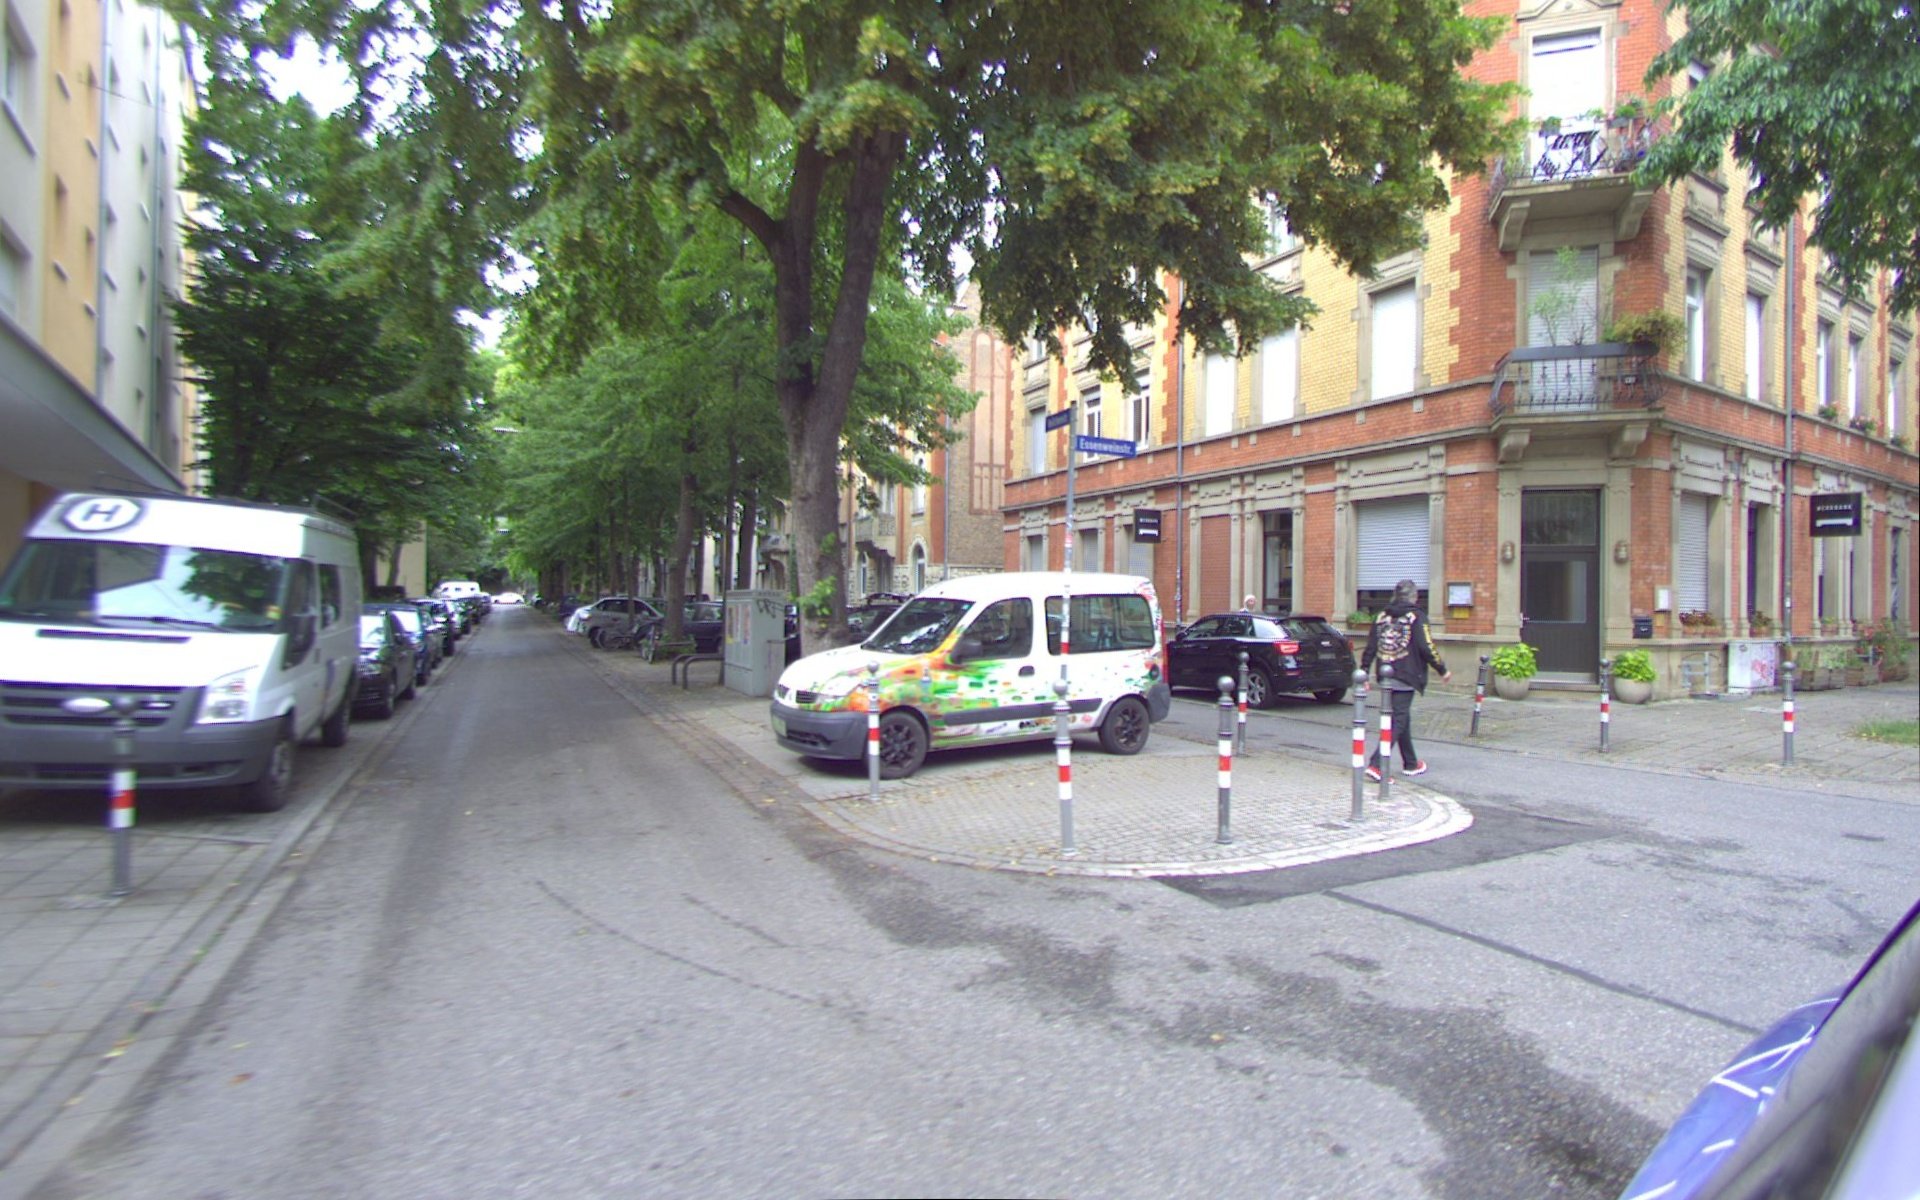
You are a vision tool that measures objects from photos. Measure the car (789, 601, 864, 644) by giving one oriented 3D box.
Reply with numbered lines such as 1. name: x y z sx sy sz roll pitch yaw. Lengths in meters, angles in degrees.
1. car: -5.254 0.813 39.312 1.806 1.514 4.282 -2 1 -22

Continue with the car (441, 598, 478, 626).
1. car: -26.599 0.639 53.865 1.478 1.386 3.526 -1 -1 -22

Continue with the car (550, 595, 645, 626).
1. car: -17.306 0.501 48.357 3.937 1.408 1.733 1 0 12

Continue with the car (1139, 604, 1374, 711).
1. car: 4.842 0.862 17.074 1.626 1.560 3.840 1 0 -27

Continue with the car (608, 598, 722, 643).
1. car: -10.586 0.712 36.311 3.965 1.482 1.647 1 0 30

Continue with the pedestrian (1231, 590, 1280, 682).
1. pedestrian: 5.705 0.682 19.572 0.551 1.728 0.750 1 0 -23

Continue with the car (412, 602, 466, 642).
1. car: -19.444 0.794 37.841 1.478 1.386 3.526 -1 -1 -22

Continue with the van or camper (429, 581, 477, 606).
1. van or camper: -62.459 -0.763 124.681 4.948 3.073 1.999 0 0 -37

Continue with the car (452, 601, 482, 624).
1. car: -31.302 0.816 64.317 1.478 1.386 3.526 -1 -1 -22

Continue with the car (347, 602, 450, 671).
1. car: -13.148 0.791 23.908 1.739 1.436 4.007 1 0 -24

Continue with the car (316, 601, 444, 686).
1. car: -11.143 0.771 19.661 1.597 1.446 3.715 1 0 -21

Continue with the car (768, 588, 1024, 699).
1. car: -1.082 0.648 16.624 3.917 1.601 1.668 1 -1 29

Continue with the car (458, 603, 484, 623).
1. car: -35.730 0.982 74.052 1.478 1.386 3.526 -1 -1 -22

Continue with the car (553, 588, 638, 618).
1. car: -19.341 0.144 53.698 3.937 1.550 1.733 1 0 12

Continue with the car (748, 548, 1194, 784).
1. car: 0.166 0.518 9.683 3.921 1.842 1.777 0 0 -31

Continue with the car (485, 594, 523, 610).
1. car: -57.479 0.253 127.558 3.930 1.861 1.997 -1 -1 -41

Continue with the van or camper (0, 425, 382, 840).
1. van or camper: -6.718 0.199 8.967 2.091 2.526 5.800 4 -1 -25

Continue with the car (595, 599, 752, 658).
1. car: -7.355 0.760 26.038 3.545 1.438 1.731 -1 -3 21

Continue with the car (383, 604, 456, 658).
1. car: -15.250 0.843 28.679 1.478 1.386 3.526 -1 -1 -22

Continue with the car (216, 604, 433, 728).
1. car: -8.885 0.818 14.544 1.867 1.446 4.189 1 0 -21

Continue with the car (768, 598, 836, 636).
1. car: -6.905 0.686 43.856 1.958 1.514 4.340 -2 1 -22

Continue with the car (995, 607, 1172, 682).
1. car: 2.564 0.890 22.151 1.958 1.371 4.340 -2 1 -22

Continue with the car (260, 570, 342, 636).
1. car: -21.741 0.081 33.520 1.959 2.039 4.005 1 0 -29

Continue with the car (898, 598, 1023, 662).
1. car: -0.088 0.764 28.227 1.958 1.553 4.340 -2 1 -22

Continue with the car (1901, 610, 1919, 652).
1. car: 35.122 1.091 34.660 1.578 1.472 4.001 1 0 -34

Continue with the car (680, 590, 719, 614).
1. car: -17.444 0.097 67.699 1.958 1.515 4.341 1 0 -22

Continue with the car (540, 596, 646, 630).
1. car: -15.756 0.542 43.517 3.937 1.408 1.733 1 0 12

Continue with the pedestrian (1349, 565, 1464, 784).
1. pedestrian: 3.918 0.620 8.899 0.499 1.820 0.782 1 -1 -31

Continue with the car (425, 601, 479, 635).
1. car: -21.310 0.733 42.567 1.625 1.359 3.535 0 0 -20

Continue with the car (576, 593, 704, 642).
1. car: -10.055 0.578 31.875 3.545 1.460 1.731 -1 -3 21
